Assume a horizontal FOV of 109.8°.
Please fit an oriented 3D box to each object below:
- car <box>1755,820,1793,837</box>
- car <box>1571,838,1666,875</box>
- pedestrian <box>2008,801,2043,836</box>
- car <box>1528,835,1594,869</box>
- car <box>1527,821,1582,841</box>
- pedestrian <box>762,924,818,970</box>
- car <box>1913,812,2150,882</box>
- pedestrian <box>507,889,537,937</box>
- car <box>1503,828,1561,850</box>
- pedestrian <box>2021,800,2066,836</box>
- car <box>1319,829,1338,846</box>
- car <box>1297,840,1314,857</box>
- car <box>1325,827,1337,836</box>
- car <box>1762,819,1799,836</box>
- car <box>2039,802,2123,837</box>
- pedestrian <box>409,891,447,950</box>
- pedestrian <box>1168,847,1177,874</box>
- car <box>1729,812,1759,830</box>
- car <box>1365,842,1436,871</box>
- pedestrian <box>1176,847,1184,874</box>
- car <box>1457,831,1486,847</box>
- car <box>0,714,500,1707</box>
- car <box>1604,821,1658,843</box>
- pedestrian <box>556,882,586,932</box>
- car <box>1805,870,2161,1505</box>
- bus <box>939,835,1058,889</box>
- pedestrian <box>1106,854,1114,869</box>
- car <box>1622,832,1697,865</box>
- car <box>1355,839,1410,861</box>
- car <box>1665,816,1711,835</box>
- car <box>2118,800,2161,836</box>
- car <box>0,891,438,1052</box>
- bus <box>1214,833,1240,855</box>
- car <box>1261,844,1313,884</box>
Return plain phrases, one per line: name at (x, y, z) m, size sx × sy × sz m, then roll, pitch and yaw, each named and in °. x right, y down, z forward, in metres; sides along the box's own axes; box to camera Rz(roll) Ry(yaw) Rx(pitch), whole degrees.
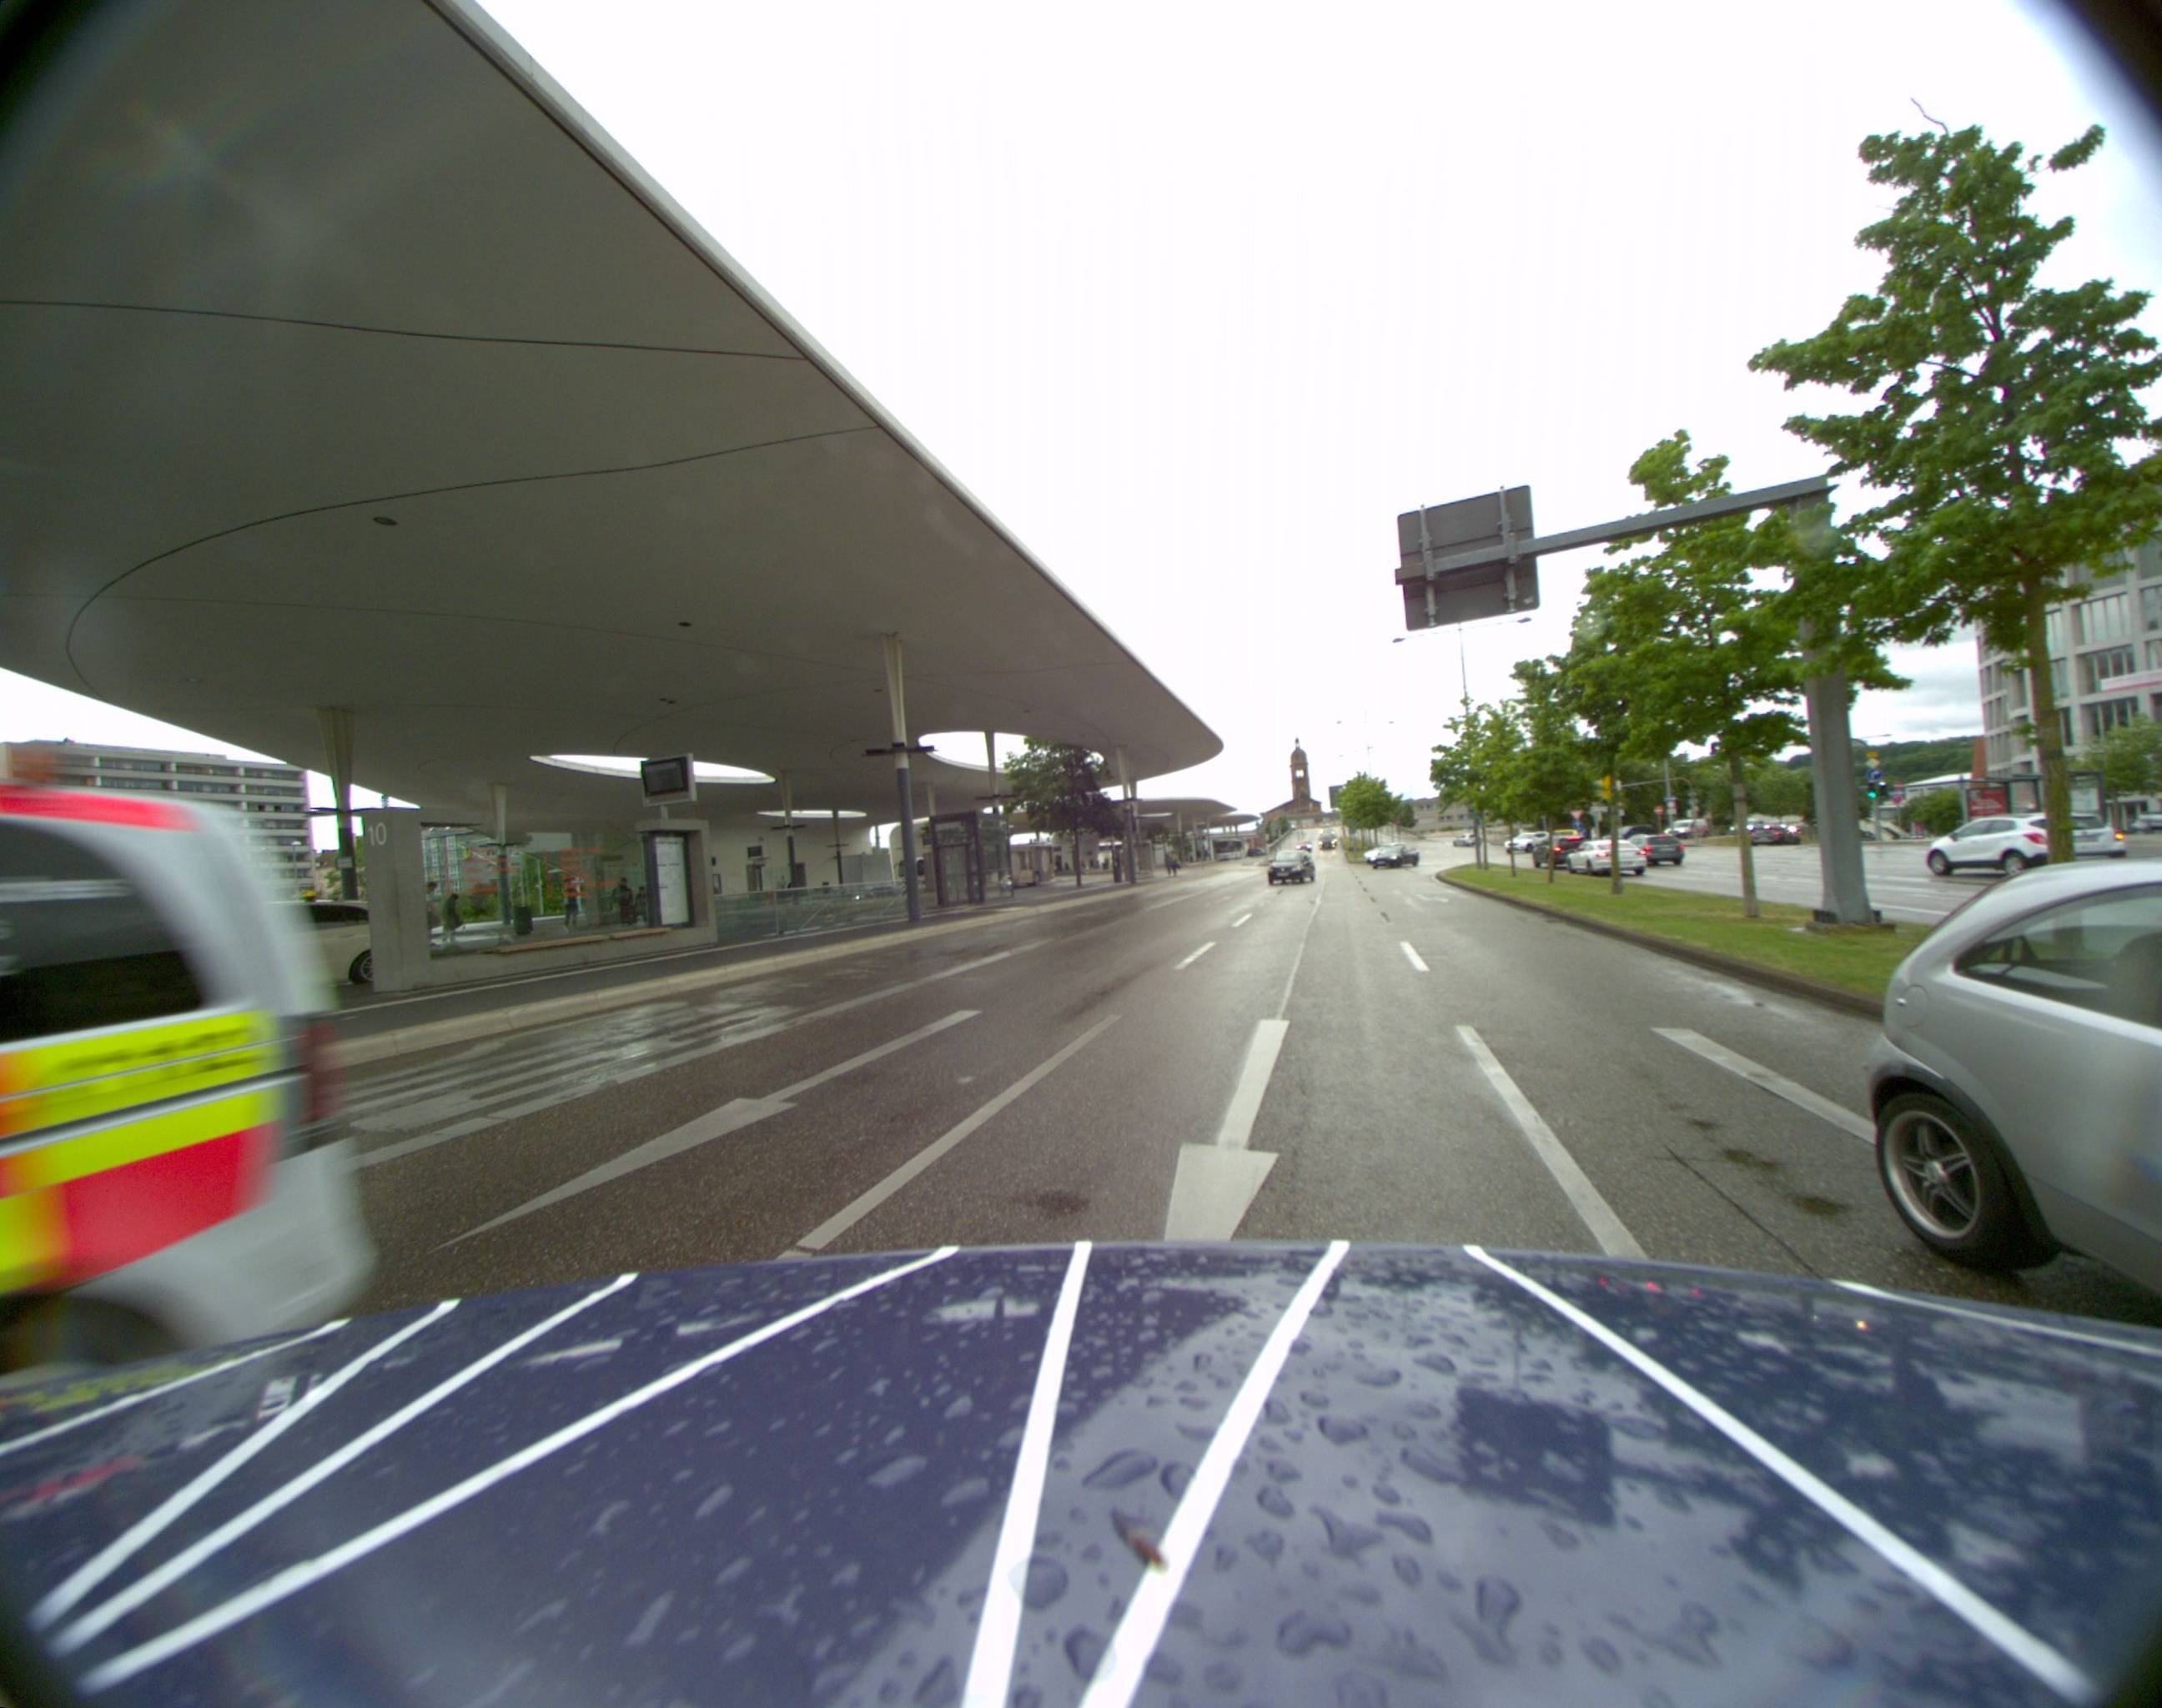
car at (74.129, -2.755, 81.224) m, size 4.163 × 1.624 × 1.873 m, roll -3°, pitch 0°, yaw -31°
car at (21.616, 0.054, 30.765) m, size 2.007 × 1.345 × 4.170 m, roll -2°, pitch 1°, yaw 19°
pedestrian at (41.717, -1.562, 33.561) m, size 0.732 × 1.481 × 0.735 m, roll -2°, pitch 1°, yaw 27°
car at (23.774, -0.125, 37.793) m, size 2.007 × 1.545 × 4.170 m, roll -2°, pitch 1°, yaw 21°
car at (46.000, -2.219, 73.929) m, size 1.879 × 1.624 × 4.149 m, roll -3°, pitch 0°, yaw -25°
pedestrian at (-7.597, 2.413, 19.857) m, size 0.881 × 1.048 × 0.959 m, roll -2°, pitch 1°, yaw 22°
car at (24.691, -0.197, 20.030) m, size 1.958 × 1.608 × 4.213 m, roll -2°, pitch 1°, yaw 19°
pedestrian at (-18.212, 1.911, 24.762) m, size 0.478 × 1.505 × 0.526 m, roll -3°, pitch 1°, yaw 23°
car at (37.012, -1.205, 62.343) m, size 4.306 × 1.624 × 1.873 m, roll -3°, pitch 1°, yaw -24°
pedestrian at (41.287, -1.535, 32.599) m, size 0.982 × 1.481 × 0.735 m, roll -2°, pitch 1°, yaw 29°
car at (32.264, -2.125, 99.032) m, size 1.996 × 2.002 × 4.003 m, roll -2°, pitch 1°, yaw 14°
car at (28.742, -0.750, 97.309) m, size 1.996 × 2.002 × 4.004 m, roll -2°, pitch 1°, yaw 17°
car at (43.786, -3.928, 133.044) m, size 1.547 × 1.551 × 3.653 m, roll -2°, pitch 1°, yaw 14°
car at (76.871, -2.932, 83.491) m, size 4.163 × 1.624 × 1.872 m, roll -3°, pitch 1°, yaw -31°
car at (52.388, -1.813, 39.811) m, size 4.162 × 1.692 × 1.873 m, roll -3°, pitch 1°, yaw -26°
pedestrian at (-17.179, 1.749, 20.004) m, size 0.478 × 1.505 × 0.536 m, roll -3°, pitch 1°, yaw 23°
pedestrian at (6.060, 0.396, 50.275) m, size 0.445 × 1.753 × 0.538 m, roll -3°, pitch 1°, yaw 12°
car at (67.967, -3.402, 77.882) m, size 4.293 × 1.624 × 1.872 m, roll -3°, pitch 0°, yaw -43°
car at (20.796, 0.132, 49.481) m, size 4.162 × 1.692 × 1.873 m, roll -3°, pitch 1°, yaw -25°
pedestrian at (6.526, 0.406, 50.178) m, size 0.445 × 1.753 × 0.537 m, roll -3°, pitch 1°, yaw 10°
car at (44.630, -1.699, 86.867) m, size 1.874 × 1.624 × 4.161 m, roll -3°, pitch 0°, yaw 13°
car at (-3.600, 0.787, 0.275) m, size 1.996 × 2.002 × 5.067 m, roll -2°, pitch 1°, yaw 17°
car at (46.350, -1.842, 64.000) m, size 4.162 × 1.624 × 1.873 m, roll -3°, pitch 1°, yaw -25°
pedestrian at (-15.937, 1.662, 23.752) m, size 0.478 × 1.505 × 0.536 m, roll -3°, pitch 1°, yaw 23°
car at (3.258, 0.834, 1.119) m, size 1.697 × 1.457 × 3.724 m, roll -2°, pitch 1°, yaw 18°
bus at (-5.012, 0.461, 49.943) m, size 2.872 × 3.064 × 11.938 m, roll -2°, pitch 0°, yaw 19°
pedestrian at (3.983, 1.040, 104.692) m, size 1.024 × 2.002 × 0.880 m, roll -2°, pitch 1°, yaw -1°
car at (27.567, -0.294, 36.340) m, size 1.696 × 1.457 × 4.458 m, roll -2°, pitch 1°, yaw 22°
car at (23.709, -0.295, 59.751) m, size 4.055 × 1.550 × 1.808 m, roll -3°, pitch 1°, yaw -30°
car at (56.167, -2.653, 70.319) m, size 4.163 × 1.624 × 1.872 m, roll -3°, pitch 1°, yaw -30°
car at (53.404, -1.831, 37.516) m, size 4.162 × 1.692 × 1.873 m, roll -3°, pitch 1°, yaw -26°
car at (-13.217, 1.575, 11.742) m, size 1.996 × 1.671 × 4.547 m, roll -2°, pitch 1°, yaw 19°
bus at (22.219, -1.511, 115.778) m, size 3.579 × 3.080 × 10.762 m, roll -3°, pitch 0°, yaw 10°
car at (9.823, 0.413, 36.022) m, size 1.873 × 1.692 × 4.163 m, roll -2°, pitch 1°, yaw 21°
